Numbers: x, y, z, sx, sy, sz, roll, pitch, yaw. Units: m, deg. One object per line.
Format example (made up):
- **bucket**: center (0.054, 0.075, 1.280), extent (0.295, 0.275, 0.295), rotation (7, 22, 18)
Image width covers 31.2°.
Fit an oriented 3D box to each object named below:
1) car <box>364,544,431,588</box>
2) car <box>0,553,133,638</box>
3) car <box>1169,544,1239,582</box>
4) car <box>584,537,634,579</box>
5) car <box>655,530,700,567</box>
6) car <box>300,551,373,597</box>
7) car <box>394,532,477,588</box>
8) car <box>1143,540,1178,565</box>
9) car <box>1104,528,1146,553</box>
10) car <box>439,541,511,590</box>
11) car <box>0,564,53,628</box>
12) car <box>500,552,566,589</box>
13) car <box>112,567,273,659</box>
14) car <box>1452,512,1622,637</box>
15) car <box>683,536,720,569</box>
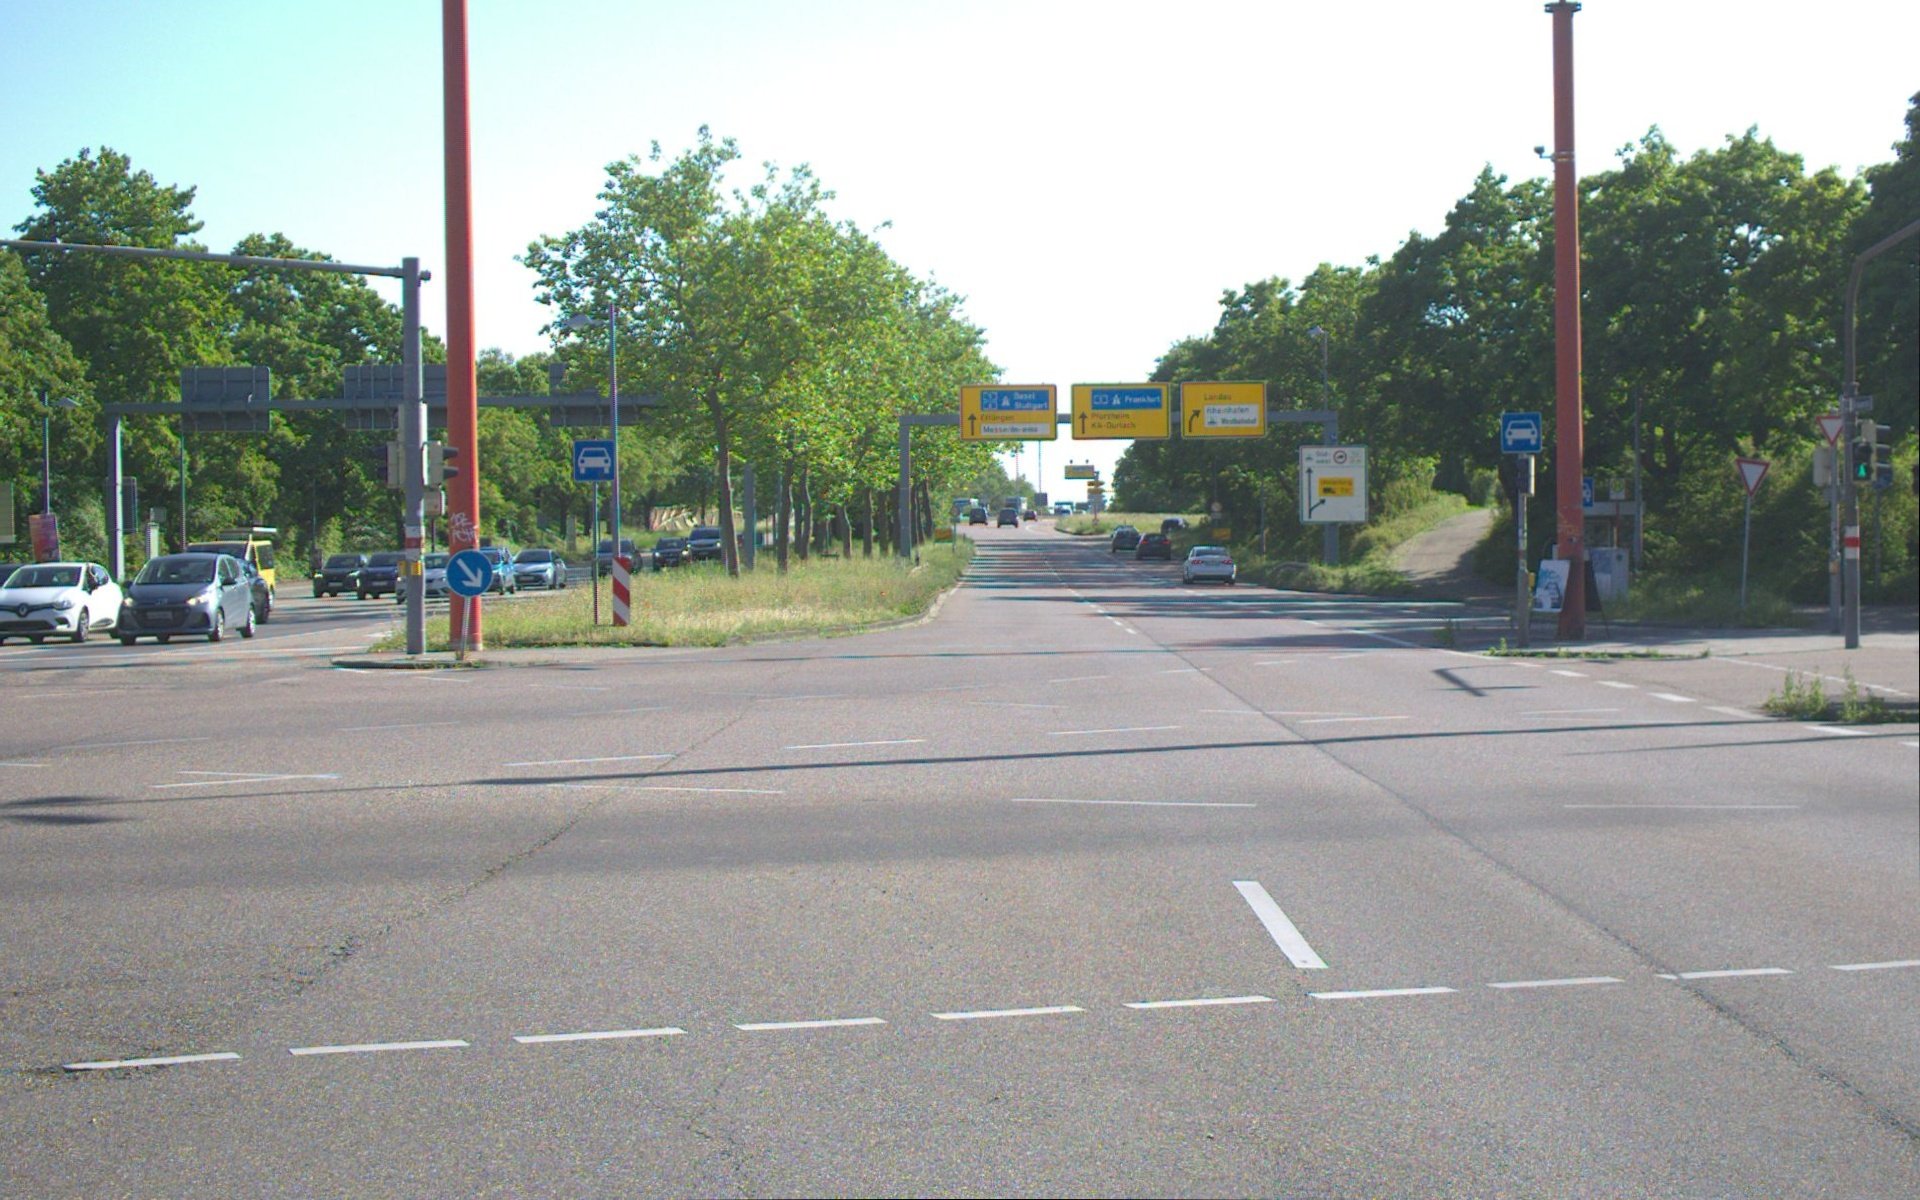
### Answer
- **car**: center (-18.894, -1.154, 115.570), extent (1.628, 1.445, 3.434), rotation (1, 0, 1)
- **car**: center (-16.181, -0.109, 61.735), extent (1.605, 1.454, 3.950), rotation (0, 1, 1)
- **car**: center (9.075, -1.382, 128.062), extent (2.054, 1.366, 4.392), rotation (-1, 1, -3)
- **car**: center (-14.926, -1.808, 146.344), extent (1.625, 1.733, 4.000), rotation (0, 1, 1)
- **car**: center (-13.448, -2.451, 163.646), extent (1.657, 1.741, 4.000), rotation (1, 0, 2)
- **car**: center (-22.830, -0.967, 125.952), extent (1.993, 1.633, 4.000), rotation (1, 0, -1)
- **car**: center (-15.349, -1.160, 100.814), extent (1.704, 1.590, 4.000), rotation (1, 0, 2)
- **car**: center (10.828, -2.558, 185.877), extent (1.738, 1.337, 3.081), rotation (0, 1, 1)
- **car**: center (10.058, -3.653, 209.651), extent (1.993, 1.491, 4.001), rotation (-1, 1, -6)
- **car**: center (-15.846, -1.131, 112.481), extent (1.704, 1.553, 3.803), rotation (1, 0, 2)
- **car**: center (-19.628, -0.104, 69.899), extent (1.453, 1.269, 3.613), rotation (1, 1, -1)
- **car**: center (-15.450, -1.079, 124.455), extent (2.003, 1.303, 4.000), rotation (-1, 1, -2)
- **car**: center (-12.927, 0.200, 58.119), extent (1.701, 1.416, 4.000), rotation (3, 0, 1)
- **car**: center (9.077, -0.414, 53.829), extent (1.995, 1.881, 3.996), rotation (0, 1, 19)
- **car**: center (-13.876, -2.530, 184.876), extent (1.608, 1.724, 3.789), rotation (1, 0, 1)
